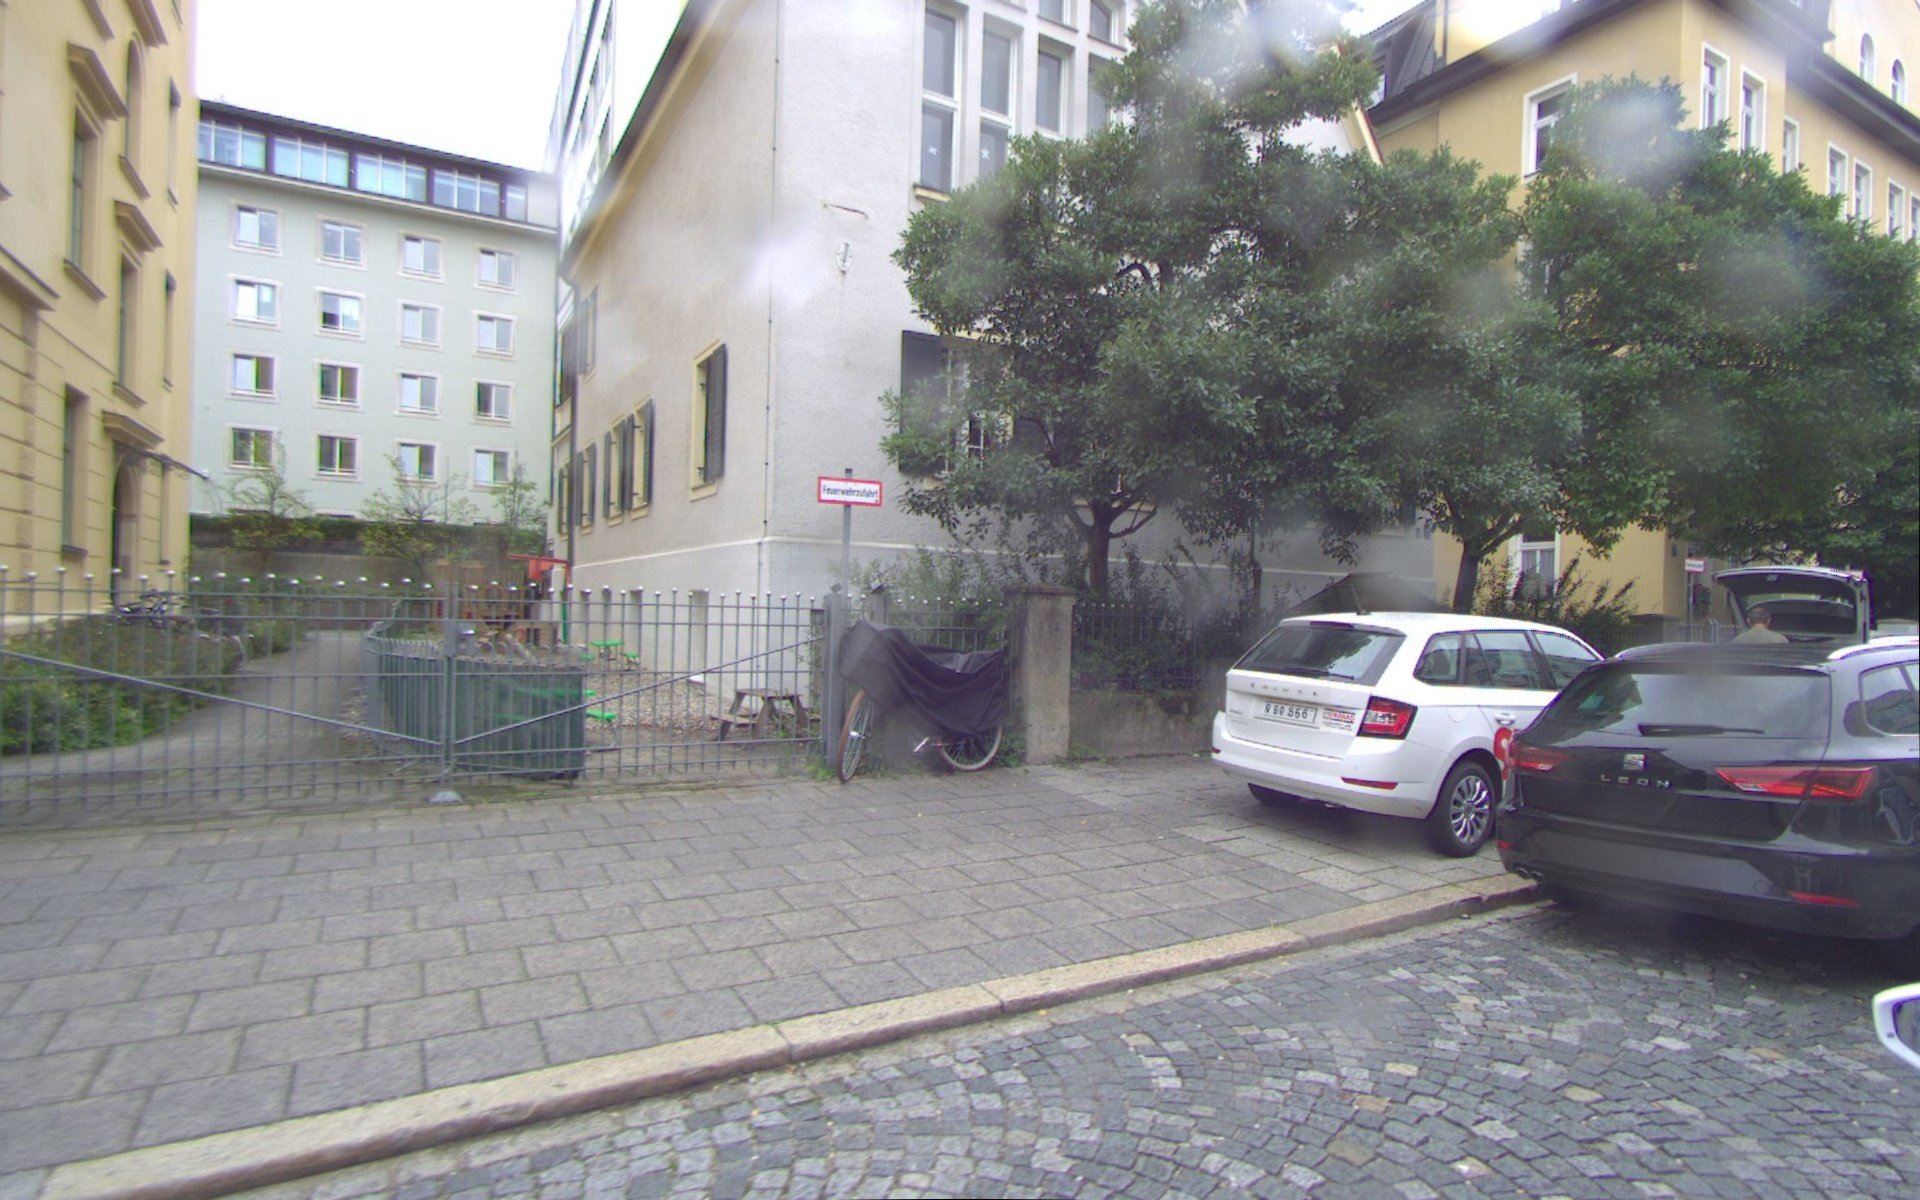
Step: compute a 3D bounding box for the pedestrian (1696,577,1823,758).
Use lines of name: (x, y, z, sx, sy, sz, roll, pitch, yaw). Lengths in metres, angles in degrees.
pedestrian: (7.740, 0.622, 9.739, 0.575, 1.672, 0.762, 1, 1, -28)

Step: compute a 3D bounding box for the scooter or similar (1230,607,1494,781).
scooter or similar: (4.045, 0.868, 10.036, 2.603, 1.543, 1.057, 2, 0, -30)

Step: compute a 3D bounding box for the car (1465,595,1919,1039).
car: (4.963, 0.870, 5.603, 4.485, 1.624, 1.731, 2, -2, -31)

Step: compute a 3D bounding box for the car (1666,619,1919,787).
car: (9.913, 1.010, 11.013, 4.506, 1.436, 1.768, 2, 1, -29)

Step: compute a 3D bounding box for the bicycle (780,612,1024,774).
bicycle: (-0.474, 0.765, 8.723, 2.036, 1.275, 0.603, 2, 0, -30)

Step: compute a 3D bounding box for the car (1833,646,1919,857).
car: (9.065, 1.115, 7.890, 4.853, 1.474, 1.807, 2, -3, -29)

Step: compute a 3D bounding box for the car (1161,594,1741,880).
car: (3.777, 0.822, 7.501, 4.416, 1.557, 1.731, 2, 1, -31)
